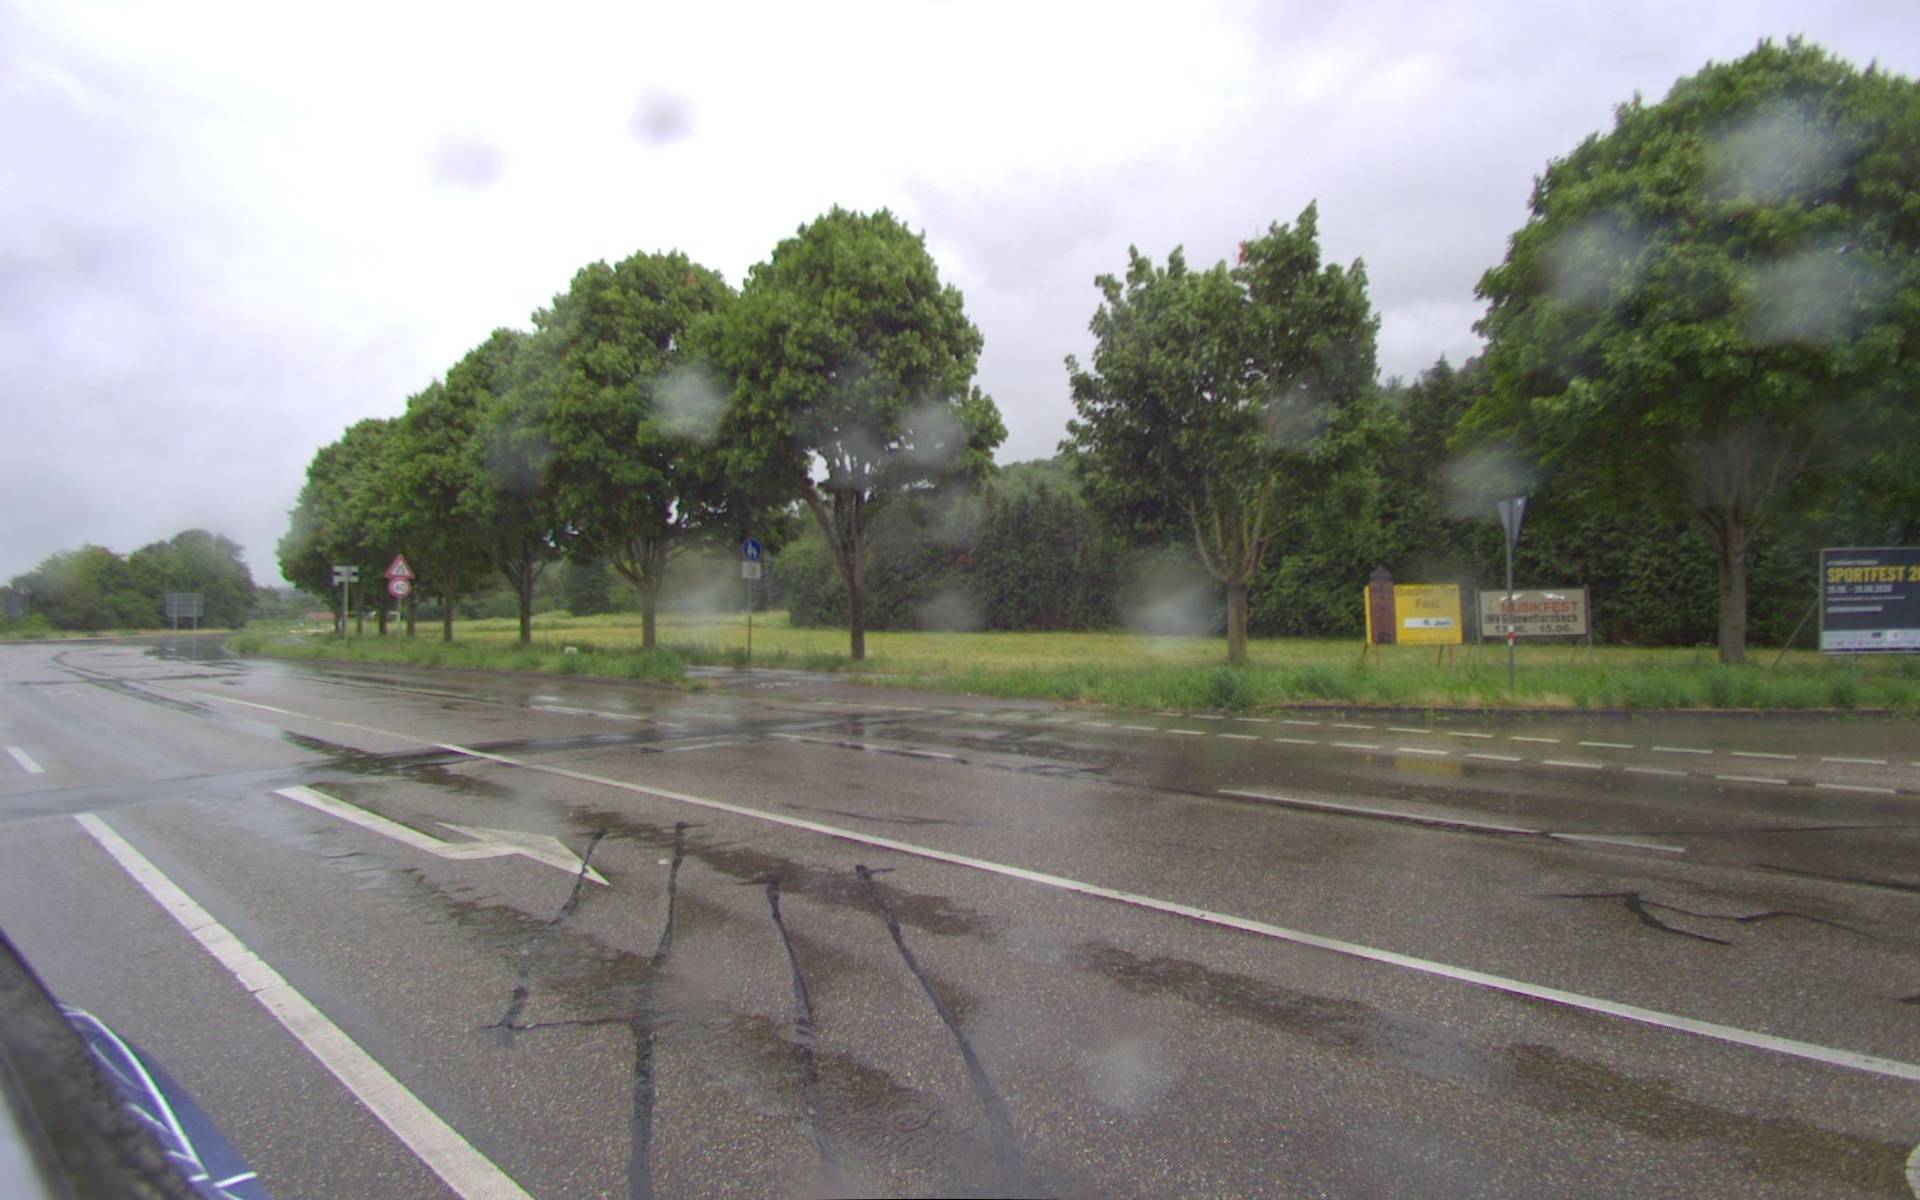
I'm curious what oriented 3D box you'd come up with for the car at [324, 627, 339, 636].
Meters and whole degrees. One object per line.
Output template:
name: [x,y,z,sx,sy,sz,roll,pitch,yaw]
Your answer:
car: [-114.633,5.827,184.644,1.852,1.585,4.659,2,-2,-27]
